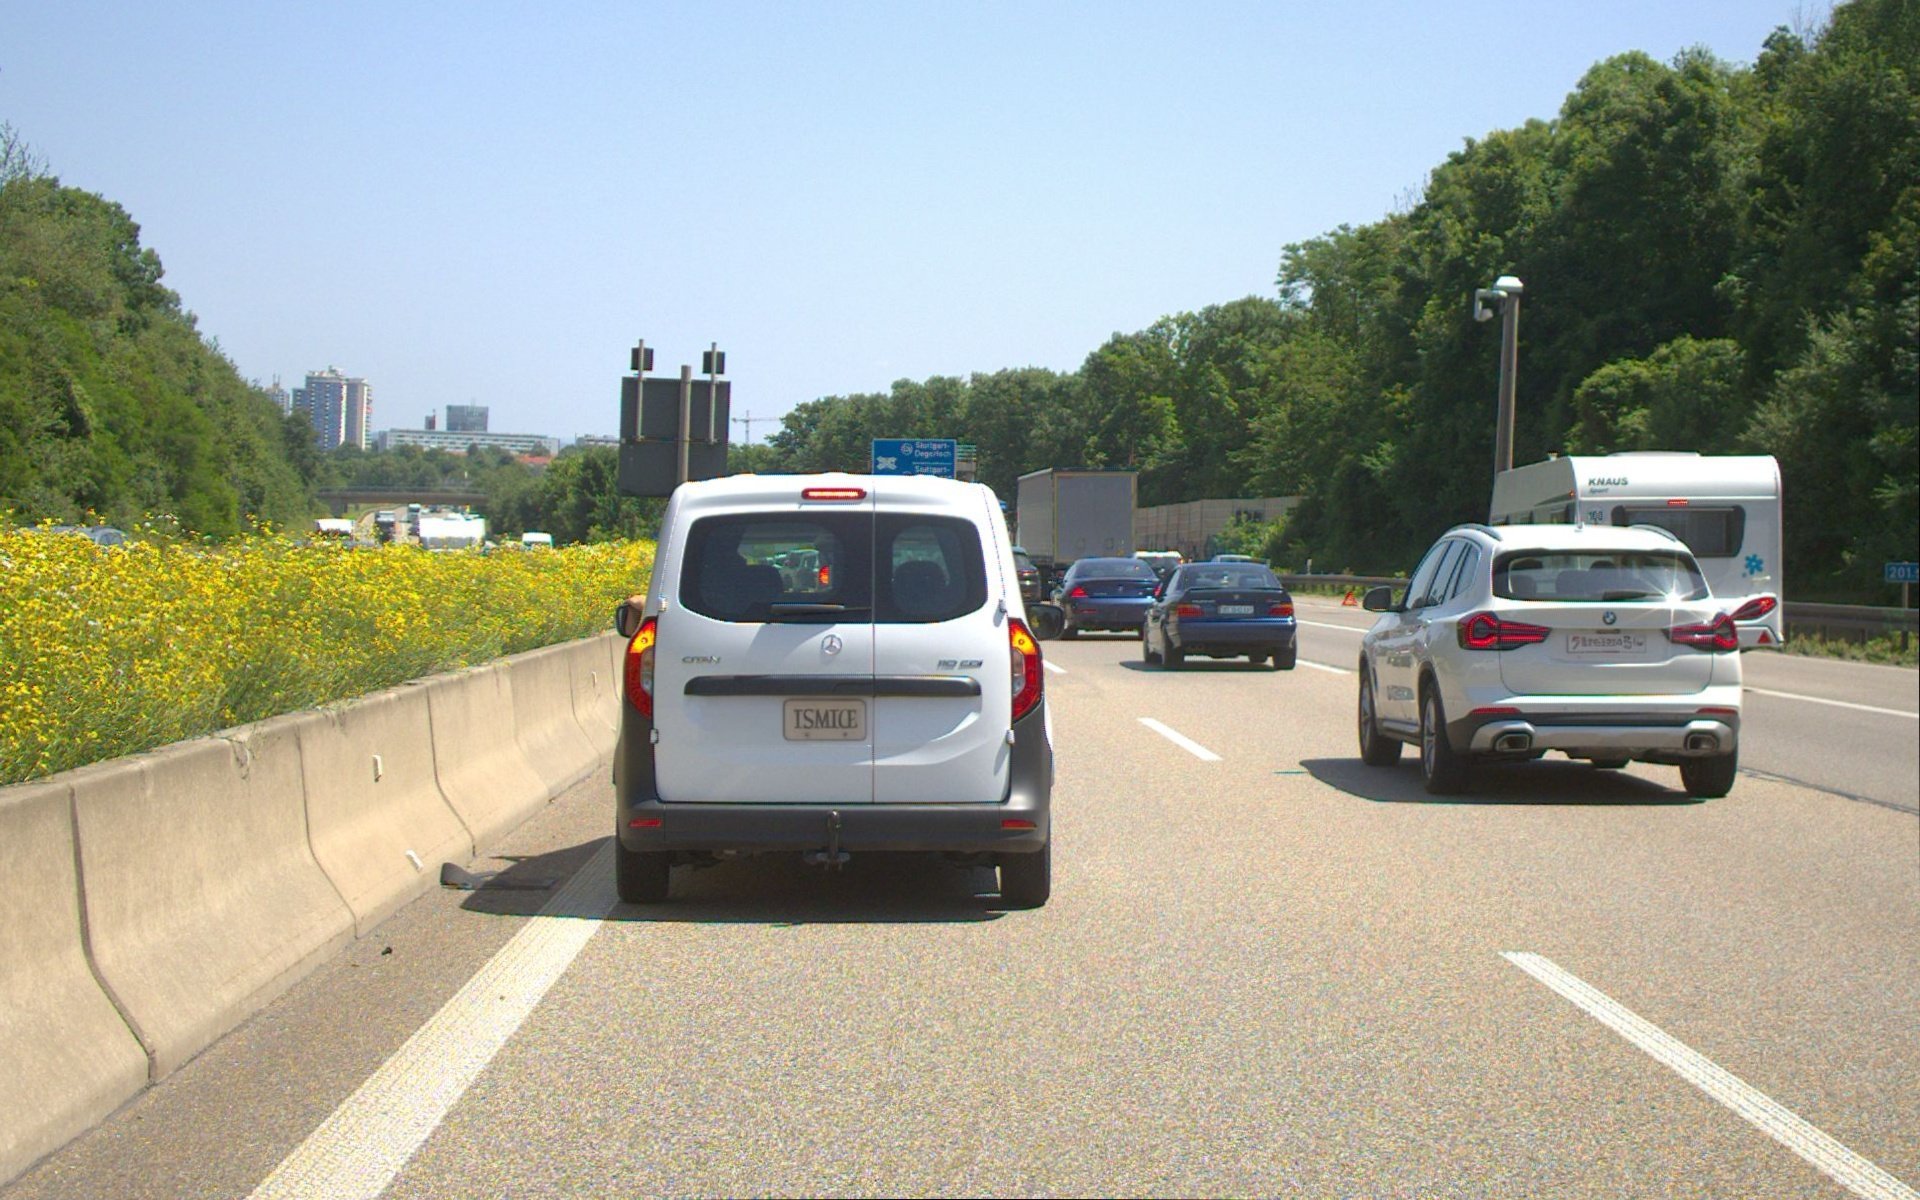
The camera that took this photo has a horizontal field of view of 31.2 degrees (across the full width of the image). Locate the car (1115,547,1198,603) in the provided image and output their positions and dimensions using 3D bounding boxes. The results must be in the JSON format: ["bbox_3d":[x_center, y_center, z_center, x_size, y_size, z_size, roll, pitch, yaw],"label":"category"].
[{"bbox_3d":[5.091,-0.665,89.546,1.824,1.419,4.000,0,1,-1],"label":"car"}]

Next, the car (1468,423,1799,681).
[{"bbox_3d":[7.710,-0.569,40.133,2.478,2.756,6.220,0,1,-1],"label":"car"}]

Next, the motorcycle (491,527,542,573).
[{"bbox_3d":[-11.730,-1.327,90.950,1.040,1.211,2.614,1,1,-1],"label":"motorcycle"}]

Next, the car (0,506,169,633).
[{"bbox_3d":[-12.662,-0.456,49.382,1.736,1.727,4.149,0,1,-1],"label":"car"}]

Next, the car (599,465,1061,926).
[{"bbox_3d":[-0.584,0.340,15.520,1.802,1.802,4.001,0,1,-2],"label":"car"}]

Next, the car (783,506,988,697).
[{"bbox_3d":[-0.780,-0.016,35.607,1.993,1.853,4.000,0,1,-1],"label":"car"}]

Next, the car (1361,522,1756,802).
[{"bbox_3d":[3.752,0.321,22.191,1.871,1.602,3.879,1,2,0],"label":"car"}]

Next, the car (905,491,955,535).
[{"bbox_3d":[-1.423,-4.063,160.261,1.993,2.007,4.001,0,1,-5],"label":"car"}]

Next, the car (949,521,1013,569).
[{"bbox_3d":[0.617,-1.681,104.924,1.824,1.442,4.000,0,1,-1],"label":"car"}]

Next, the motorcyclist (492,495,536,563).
[{"bbox_3d":[-11.789,-1.887,90.889,1.031,1.779,1.284,0,1,-1],"label":"motorcyclist"}]

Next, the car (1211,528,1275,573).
[{"bbox_3d":[9.704,-1.702,118.029,1.788,1.514,4.000,0,1,-1],"label":"car"}]

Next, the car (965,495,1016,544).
[{"bbox_3d":[1.250,-3.352,143.305,1.993,2.007,4.000,0,1,-1],"label":"car"}]

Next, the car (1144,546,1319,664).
[{"bbox_3d":[3.438,0.030,44.186,1.824,1.419,4.000,0,1,-1],"label":"car"}]

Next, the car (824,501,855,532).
[{"bbox_3d":[-8.127,-5.641,232.283,1.993,2.007,4.000,0,1,-1],"label":"car"}]

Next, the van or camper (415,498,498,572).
[{"bbox_3d":[-18.673,-2.412,127.843,2.308,2.627,7.400,0,1,-3],"label":"van or camper"}]

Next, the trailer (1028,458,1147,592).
[{"bbox_3d":[3.916,-2.322,108.013,3.081,3.972,10.324,0,1,-1],"label":"trailer"}]

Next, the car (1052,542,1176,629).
[{"bbox_3d":[2.590,-0.265,58.689,1.824,1.419,4.000,0,1,-1],"label":"car"}]

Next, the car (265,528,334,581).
[{"bbox_3d":[-21.453,-1.489,111.787,1.755,1.690,4.423,0,1,-5],"label":"car"}]

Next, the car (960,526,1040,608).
[{"bbox_3d":[0.965,-0.827,85.010,1.824,1.982,4.000,0,1,-1],"label":"car"}]
